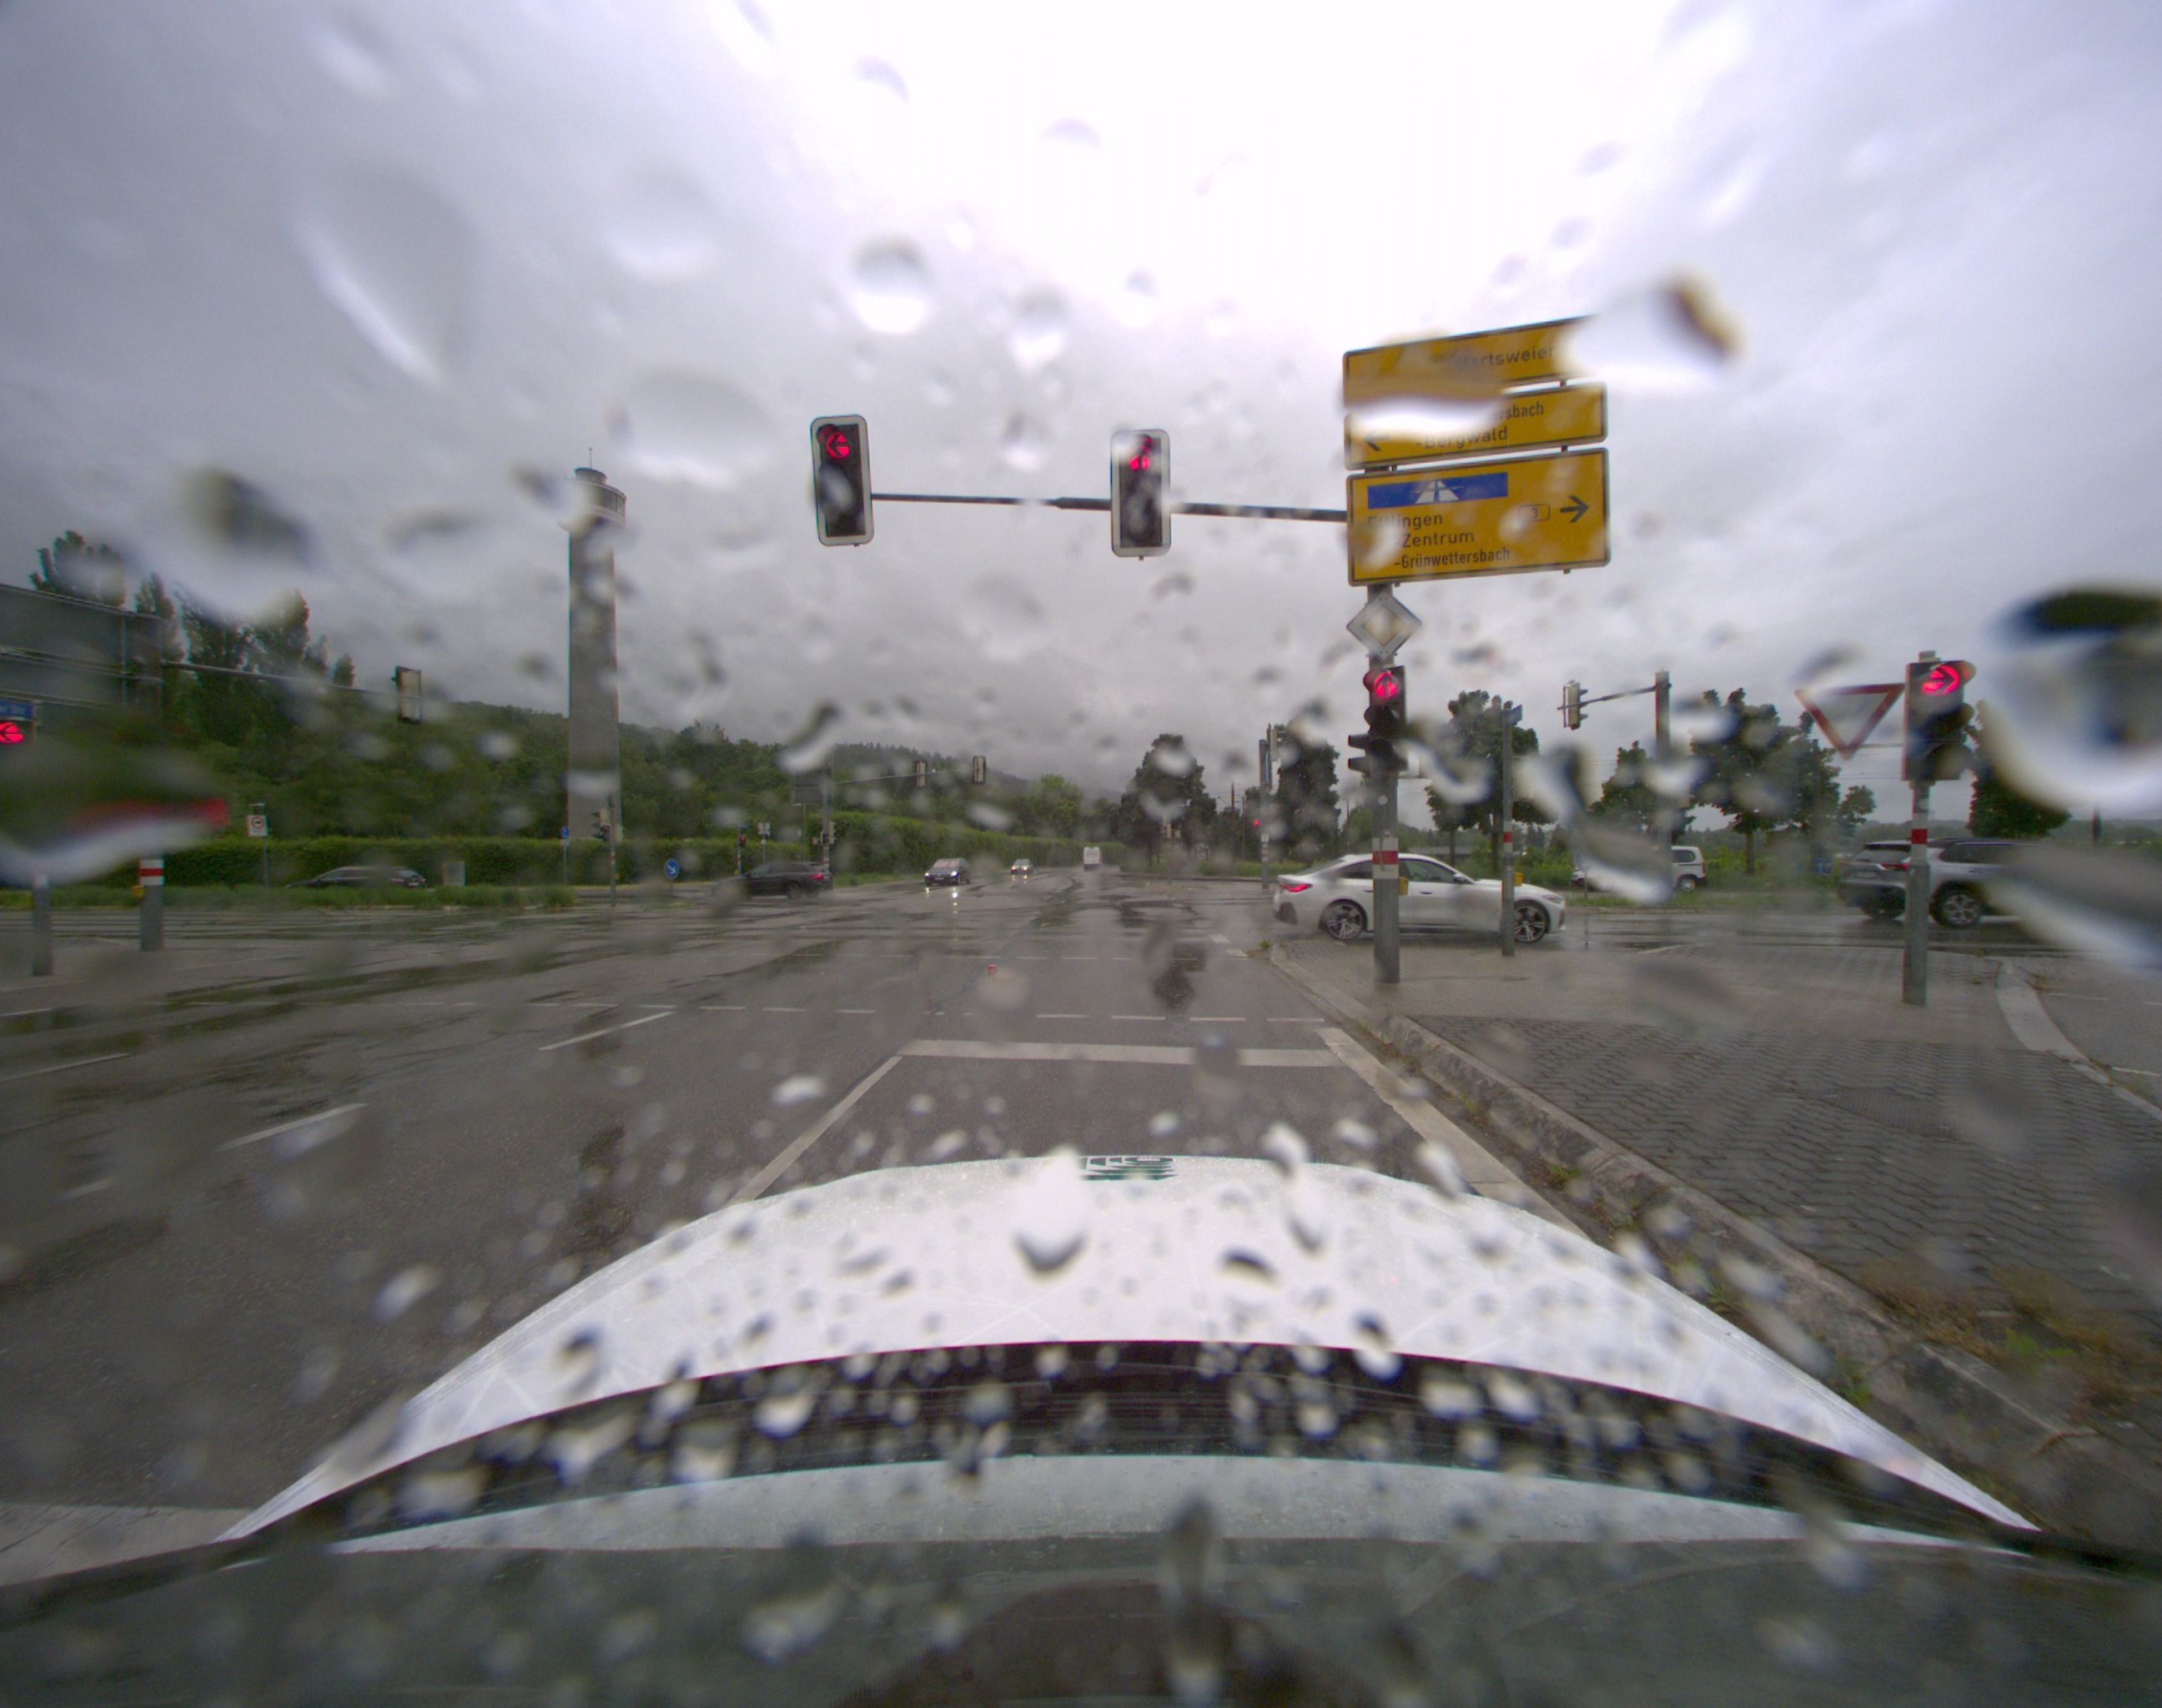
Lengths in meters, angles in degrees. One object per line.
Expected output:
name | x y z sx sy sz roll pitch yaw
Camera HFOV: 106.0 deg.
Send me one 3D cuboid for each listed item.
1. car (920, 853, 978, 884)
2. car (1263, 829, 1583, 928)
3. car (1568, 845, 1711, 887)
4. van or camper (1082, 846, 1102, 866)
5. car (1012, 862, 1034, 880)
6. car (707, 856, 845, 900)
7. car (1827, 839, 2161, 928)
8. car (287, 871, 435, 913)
car | -7.296 0.774 45.486 1.869 1.573 4.654 -3 0 7
car | 5.696 0.412 14.172 4.852 1.553 1.804 -1 0 10
car | 21.887 0.472 32.114 4.297 1.553 1.832 -1 0 20
van or camper | 1.348 0.216 95.072 2.145 2.169 4.867 -1 0 2
car | -5.254 1.511 74.165 1.552 1.481 3.363 -1 0 2
car | -11.858 0.913 31.801 4.648 1.553 1.825 -1 0 4
car | 17.554 0.513 15.643 4.502 1.579 1.916 0 0 7
car | -29.498 1.550 33.446 4.646 1.553 1.825 -1 0 5
